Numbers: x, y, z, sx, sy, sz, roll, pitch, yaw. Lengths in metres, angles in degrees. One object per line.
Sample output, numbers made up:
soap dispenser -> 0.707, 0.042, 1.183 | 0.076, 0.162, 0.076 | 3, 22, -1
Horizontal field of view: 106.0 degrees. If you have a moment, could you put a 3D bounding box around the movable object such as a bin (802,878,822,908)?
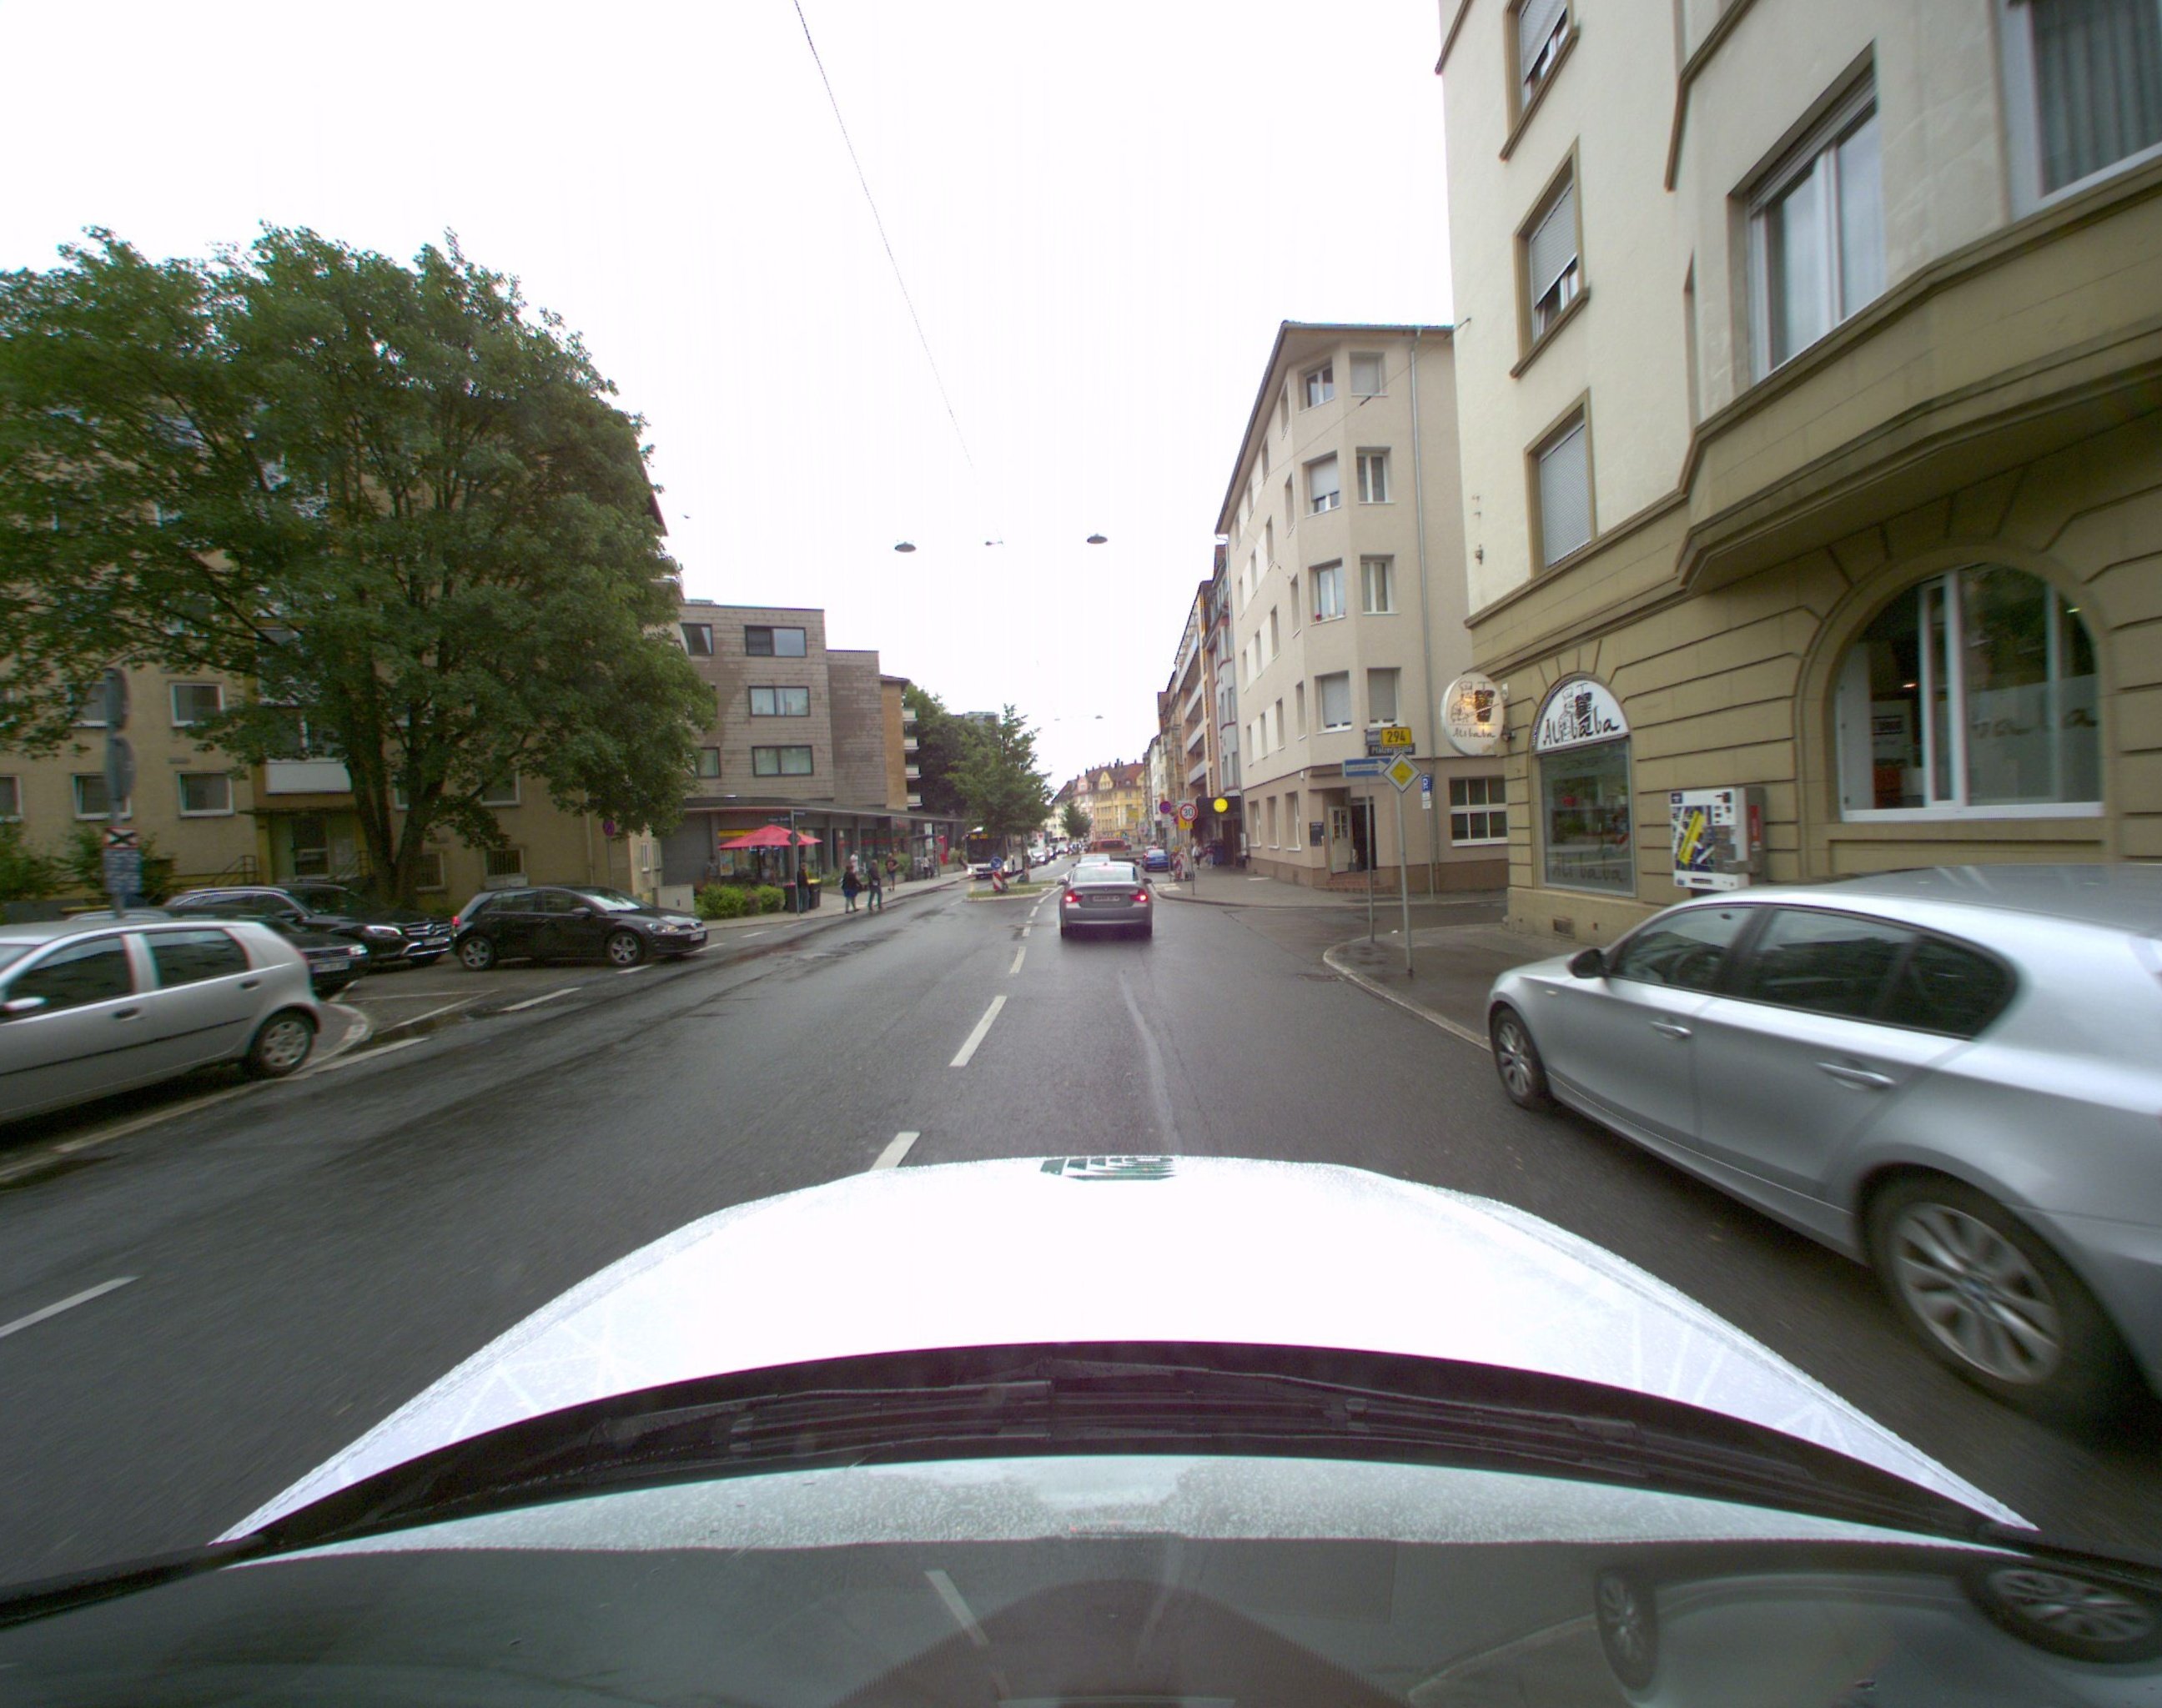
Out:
movable object such as a bin -> -10.235, 1.485, 31.008 | 0.488, 1.081, 0.606 | -3, -2, 3

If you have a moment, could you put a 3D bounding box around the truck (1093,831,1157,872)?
truck -> 2.422, -0.123, 46.024 | 2.220, 2.117, 4.627 | 1, -1, -15

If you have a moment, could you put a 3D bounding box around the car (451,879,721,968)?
car -> -8.849, 1.213, 14.776 | 3.802, 1.390, 1.743 | -1, -1, 1

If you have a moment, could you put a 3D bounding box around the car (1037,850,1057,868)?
car -> -3.761, 0.597, 90.952 | 1.986, 2.014, 4.001 | 0, -1, 1

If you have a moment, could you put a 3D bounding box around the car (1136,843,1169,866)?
car -> 4.808, 0.057, 55.137 | 1.986, 1.519, 4.001 | 0, -1, 1

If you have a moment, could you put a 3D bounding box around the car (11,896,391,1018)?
car -> -12.809, 1.466, 12.014 | 3.798, 1.389, 1.745 | -3, 1, 4

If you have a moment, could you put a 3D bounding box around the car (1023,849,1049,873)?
car -> -4.029, 0.653, 73.202 | 1.986, 2.014, 4.001 | -2, -1, 1

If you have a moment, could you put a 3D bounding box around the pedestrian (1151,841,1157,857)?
pedestrian -> 6.485, -0.439, 72.317 | 0.519, 1.421, 0.431 | 0, -1, 11

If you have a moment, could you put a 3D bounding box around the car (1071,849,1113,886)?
car -> 0.418, 0.541, 32.358 | 1.596, 1.420, 3.287 | 0, -1, 0

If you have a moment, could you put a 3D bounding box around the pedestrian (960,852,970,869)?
pedestrian -> -9.272, 0.548, 65.068 | 0.617, 1.378, 0.545 | 0, -1, 3

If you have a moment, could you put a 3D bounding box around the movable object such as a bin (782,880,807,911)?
movable object such as a bin -> -10.385, 1.499, 29.509 | 0.551, 1.081, 0.731 | -3, -1, 3

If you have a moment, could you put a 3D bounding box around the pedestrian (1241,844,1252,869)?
pedestrian -> 8.445, 0.123, 41.593 | 0.410, 1.203, 0.357 | -5, 1, 5

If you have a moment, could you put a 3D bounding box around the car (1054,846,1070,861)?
car -> -2.709, -0.073, 116.380 | 1.986, 2.014, 4.001 | 0, -1, 1

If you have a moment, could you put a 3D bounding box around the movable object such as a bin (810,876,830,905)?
movable object such as a bin -> -10.138, 1.404, 31.637 | 0.466, 1.071, 0.544 | -5, -2, 39

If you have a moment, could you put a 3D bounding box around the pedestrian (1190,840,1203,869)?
pedestrian -> 6.605, 0.029, 46.548 | 0.744, 1.661, 0.839 | 0, -1, 8

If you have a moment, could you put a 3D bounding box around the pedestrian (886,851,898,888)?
pedestrian -> -9.284, 0.758, 39.998 | 0.542, 1.790, 0.465 | 0, -1, -7

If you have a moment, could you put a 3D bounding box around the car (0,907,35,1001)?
car -> -18.593, 1.618, 11.586 | 4.237, 1.420, 1.698 | -2, -1, -23

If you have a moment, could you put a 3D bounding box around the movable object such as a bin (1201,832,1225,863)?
movable object such as a bin -> 7.831, -0.382, 48.361 | 1.119, 1.702, 1.433 | -4, -1, 0

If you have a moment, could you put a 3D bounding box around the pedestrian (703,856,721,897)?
pedestrian -> -16.926, 1.026, 37.355 | 0.637, 1.816, 0.632 | -3, 0, -28

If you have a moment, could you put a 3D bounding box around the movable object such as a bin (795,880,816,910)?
movable object such as a bin -> -10.257, 1.513, 30.359 | 0.488, 1.081, 0.606 | -3, -2, 3

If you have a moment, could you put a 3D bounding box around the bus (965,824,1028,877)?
bus -> -5.507, -0.119, 55.059 | 2.671, 3.201, 11.958 | 0, -1, 1

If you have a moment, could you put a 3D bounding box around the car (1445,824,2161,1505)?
car -> 3.251, 0.683, 3.570 | 1.563, 1.464, 4.092 | -4, 0, 3

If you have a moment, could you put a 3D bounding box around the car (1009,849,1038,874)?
car -> -4.686, 0.614, 66.656 | 1.986, 2.014, 4.001 | 0, -1, 1

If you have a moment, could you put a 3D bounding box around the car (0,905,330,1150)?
car -> -7.871, 1.232, 5.726 | 1.627, 1.454, 3.837 | -2, 0, -1

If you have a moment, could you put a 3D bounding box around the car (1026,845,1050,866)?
car -> -4.217, 0.198, 80.638 | 1.986, 2.014, 4.001 | 0, -1, 1

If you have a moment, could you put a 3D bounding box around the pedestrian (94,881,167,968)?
pedestrian -> -19.472, 1.426, 16.703 | 0.627, 1.682, 0.814 | 1, 1, -17

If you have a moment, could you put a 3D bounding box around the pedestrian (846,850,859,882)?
pedestrian -> -12.254, 0.658, 43.671 | 0.659, 1.706, 0.658 | 0, -1, -16

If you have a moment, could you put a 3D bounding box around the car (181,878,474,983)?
car -> -13.853, 1.370, 15.135 | 3.795, 1.582, 1.694 | -3, 1, 1

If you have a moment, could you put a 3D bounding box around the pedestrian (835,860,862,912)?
pedestrian -> -7.925, 1.082, 27.775 | 0.741, 1.709, 0.676 | -5, 0, -19

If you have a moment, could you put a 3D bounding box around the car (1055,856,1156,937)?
car -> 0.501, 0.759, 15.981 | 1.749, 1.362, 3.167 | -1, 0, 2

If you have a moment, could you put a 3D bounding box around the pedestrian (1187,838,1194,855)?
pedestrian -> 9.290, -0.636, 69.071 | 0.560, 1.421, 0.799 | 0, -1, 15

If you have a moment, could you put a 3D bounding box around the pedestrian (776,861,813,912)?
pedestrian -> -10.097, 1.134, 28.732 | 1.061, 1.731, 0.712 | -2, 0, -8

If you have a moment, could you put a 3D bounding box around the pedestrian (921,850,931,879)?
pedestrian -> -9.339, 0.626, 49.150 | 0.542, 1.709, 0.465 | 0, -1, -4

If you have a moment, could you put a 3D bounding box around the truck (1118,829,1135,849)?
truck -> 6.456, -2.109, 115.489 | 2.208, 2.544, 4.781 | 0, -1, 1

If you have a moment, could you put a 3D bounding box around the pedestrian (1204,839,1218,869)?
pedestrian -> 7.337, 0.016, 46.041 | 0.746, 1.661, 0.756 | 0, -1, 8

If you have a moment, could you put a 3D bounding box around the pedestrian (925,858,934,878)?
pedestrian -> -9.479, 0.868, 50.981 | 0.463, 1.230, 0.545 | 0, -1, 3

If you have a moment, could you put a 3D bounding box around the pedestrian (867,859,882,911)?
pedestrian -> -6.983, 1.037, 27.510 | 0.466, 1.709, 0.541 | 1, -1, -18

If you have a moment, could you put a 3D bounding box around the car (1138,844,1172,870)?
car -> 4.492, 0.220, 49.615 | 1.802, 1.519, 4.001 | 0, -1, 1

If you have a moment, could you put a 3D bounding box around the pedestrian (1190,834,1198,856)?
pedestrian -> 8.959, -0.698, 64.431 | 0.611, 1.661, 0.756 | 0, -1, 8
